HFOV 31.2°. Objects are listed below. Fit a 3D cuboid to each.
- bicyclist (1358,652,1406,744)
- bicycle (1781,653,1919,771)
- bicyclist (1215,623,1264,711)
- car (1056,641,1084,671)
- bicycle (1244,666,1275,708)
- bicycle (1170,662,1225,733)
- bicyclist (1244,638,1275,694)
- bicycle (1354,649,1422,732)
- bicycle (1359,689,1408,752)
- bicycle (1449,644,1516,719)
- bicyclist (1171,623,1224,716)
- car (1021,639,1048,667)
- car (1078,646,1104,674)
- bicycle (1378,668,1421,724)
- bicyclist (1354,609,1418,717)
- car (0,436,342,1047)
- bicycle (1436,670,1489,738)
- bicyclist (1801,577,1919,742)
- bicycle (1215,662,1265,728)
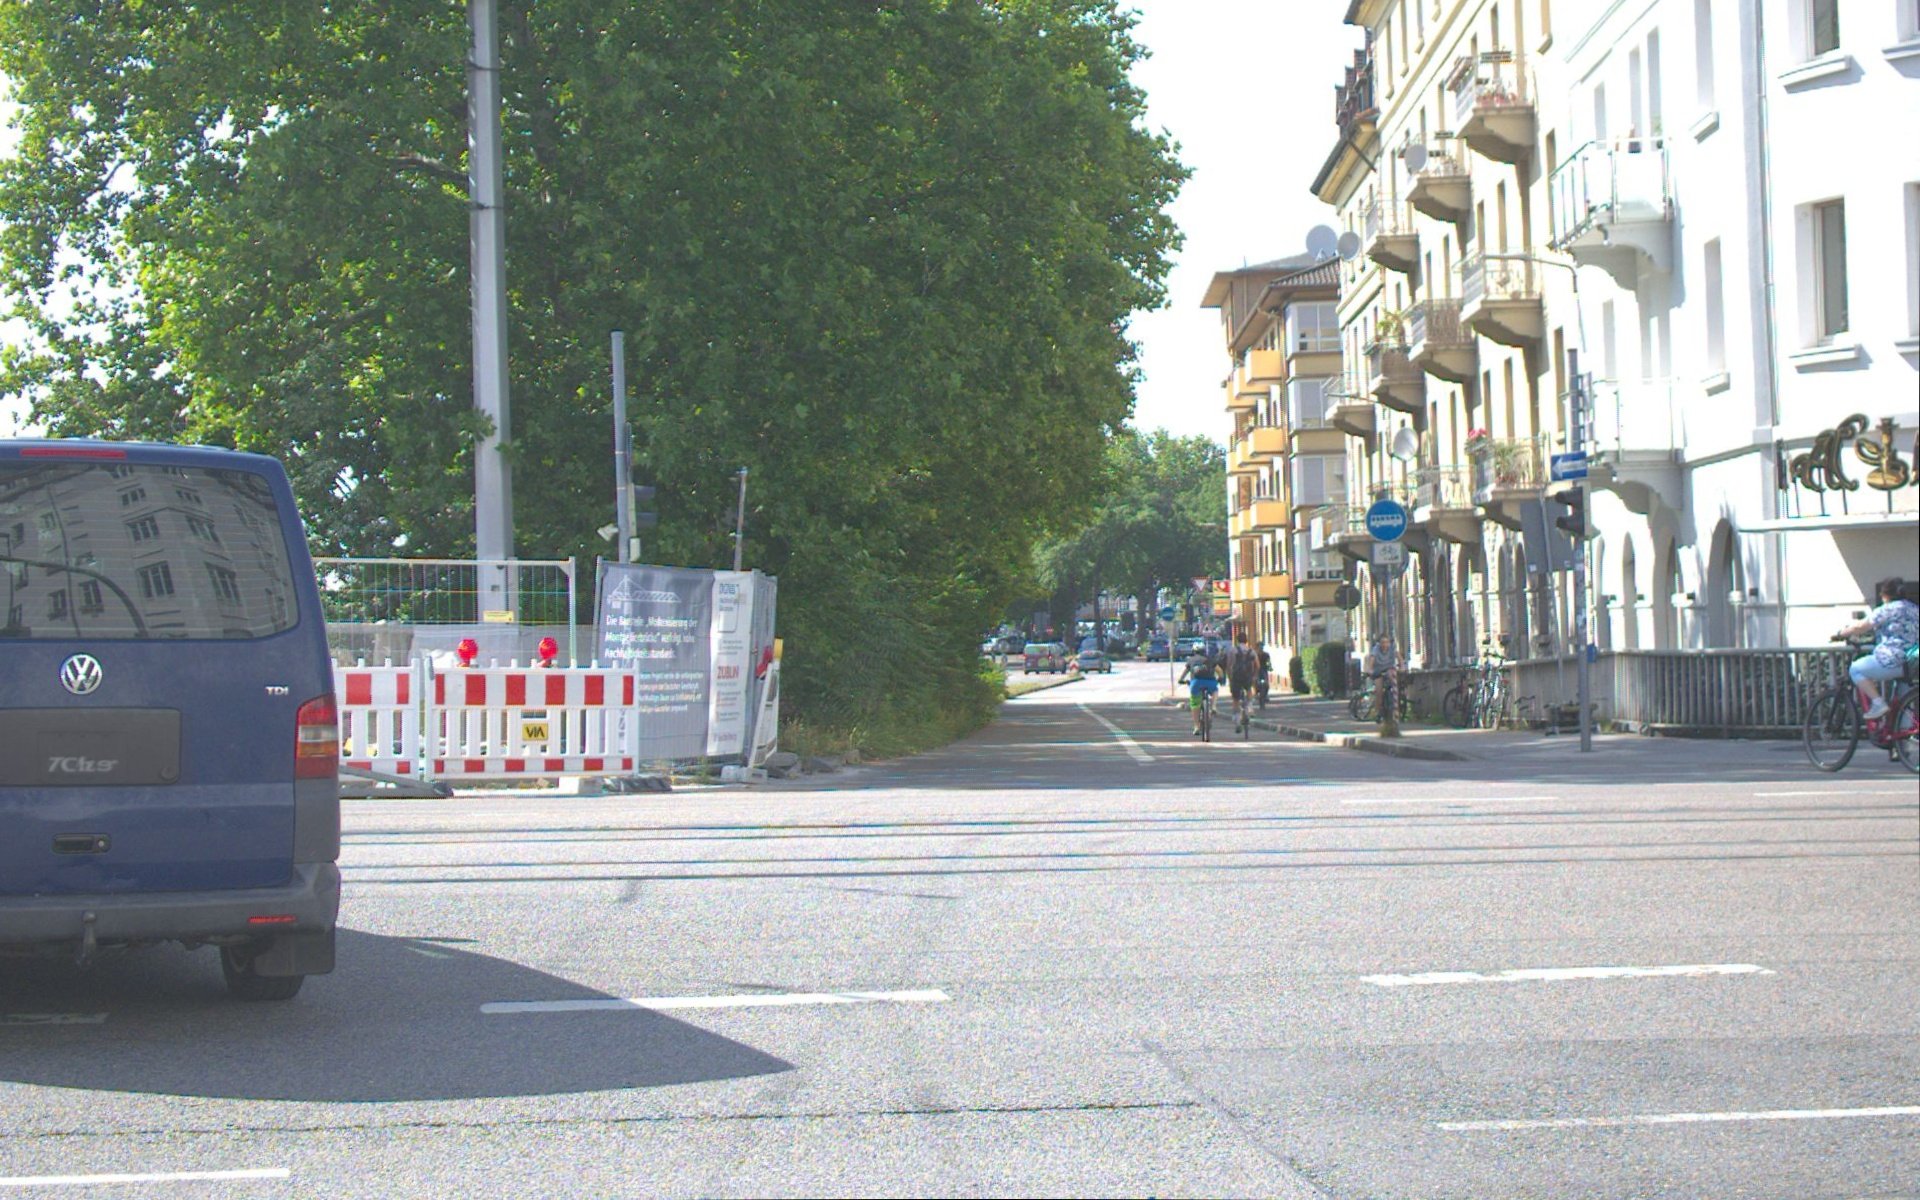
[{"bbox_3d":[7.355,1.698,59.957,0.708,1.544,0.784,-3,0,4],"label":"bicyclist"},{"bbox_3d":[7.946,0.953,29.949,0.865,0.986,2.246,0,-1,-5],"label":"bicycle"},{"bbox_3d":[4.915,1.177,60.476,0.837,1.532,1.023,-1,-1,5],"label":"bicyclist"},{"bbox_3d":[6.279,3.177,196.258,1.626,1.617,3.695,0,0,2],"label":"car"},{"bbox_3d":[8.252,2.381,94.642,0.837,1.133,2.858,-1,-1,5],"label":"bicycle"},{"bbox_3d":[3.952,1.607,57.064,0.837,1.133,2.858,-1,-1,5],"label":"bicycle"},{"bbox_3d":[8.238,1.816,94.677,0.837,1.532,1.023,-1,-1,5],"label":"bicyclist"},{"bbox_3d":[6.052,1.270,48.763,0.837,1.133,2.858,-1,-1,5],"label":"bicycle"},{"bbox_3d":[7.375,2.097,59.943,0.708,0.987,1.819,-3,0,4],"label":"bicycle"},{"bbox_3d":[8.141,1.267,53.668,0.837,1.133,2.858,-1,-1,5],"label":"bicycle"},{"bbox_3d":[3.948,1.151,57.113,0.837,1.532,1.023,-1,-1,5],"label":"bicyclist"},{"bbox_3d":[4.645,3.297,214.060,1.626,1.617,3.695,0,0,2],"label":"car"},{"bbox_3d":[8.152,3.722,214.094,1.626,1.617,3.695,0,0,2],"label":"car"},{"bbox_3d":[8.653,1.884,67.785,0.680,1.071,2.292,-1,-1,4],"label":"bicycle"},{"bbox_3d":[6.027,0.893,48.673,0.837,1.503,0.952,-1,-1,5],"label":"bicyclist"},{"bbox_3d":[-3.647,0.426,12.621,1.815,1.899,4.055,-1,1,-23],"label":"car"},{"bbox_3d":[8.319,1.710,56.986,0.680,1.071,2.292,-1,-1,4],"label":"bicycle"},{"bbox_3d":[7.934,0.520,30.062,0.865,1.411,0.917,0,-1,-5],"label":"bicyclist"},{"bbox_3d":[4.923,1.653,60.396,0.837,1.133,2.858,-1,-1,5],"label":"bicycle"}]
